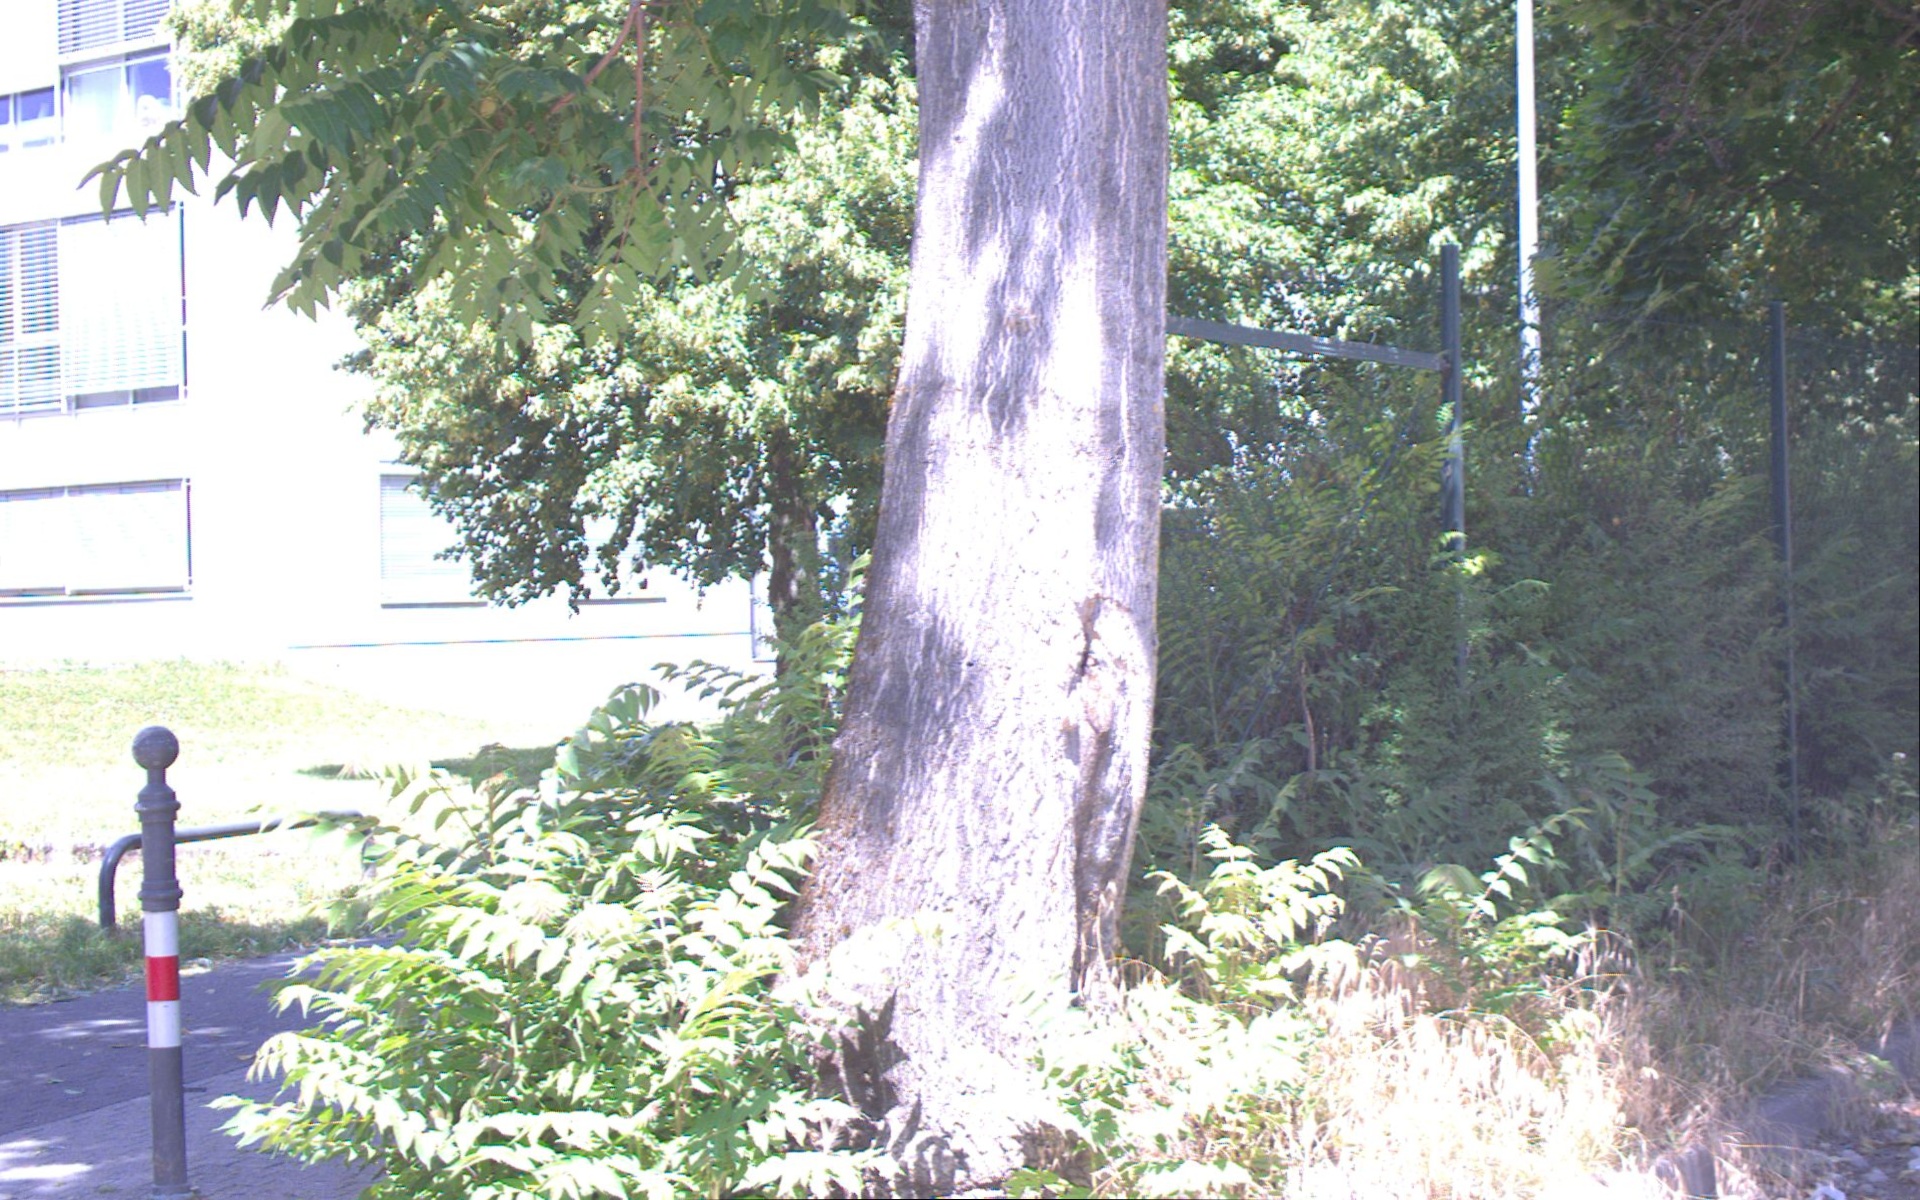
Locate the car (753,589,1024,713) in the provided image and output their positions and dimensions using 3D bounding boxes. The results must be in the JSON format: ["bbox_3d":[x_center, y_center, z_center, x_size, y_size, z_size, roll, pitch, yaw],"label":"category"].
[{"bbox_3d":[-0.983,0.700,48.558,3.619,1.615,1.672,-2,1,-44],"label":"car"}]
